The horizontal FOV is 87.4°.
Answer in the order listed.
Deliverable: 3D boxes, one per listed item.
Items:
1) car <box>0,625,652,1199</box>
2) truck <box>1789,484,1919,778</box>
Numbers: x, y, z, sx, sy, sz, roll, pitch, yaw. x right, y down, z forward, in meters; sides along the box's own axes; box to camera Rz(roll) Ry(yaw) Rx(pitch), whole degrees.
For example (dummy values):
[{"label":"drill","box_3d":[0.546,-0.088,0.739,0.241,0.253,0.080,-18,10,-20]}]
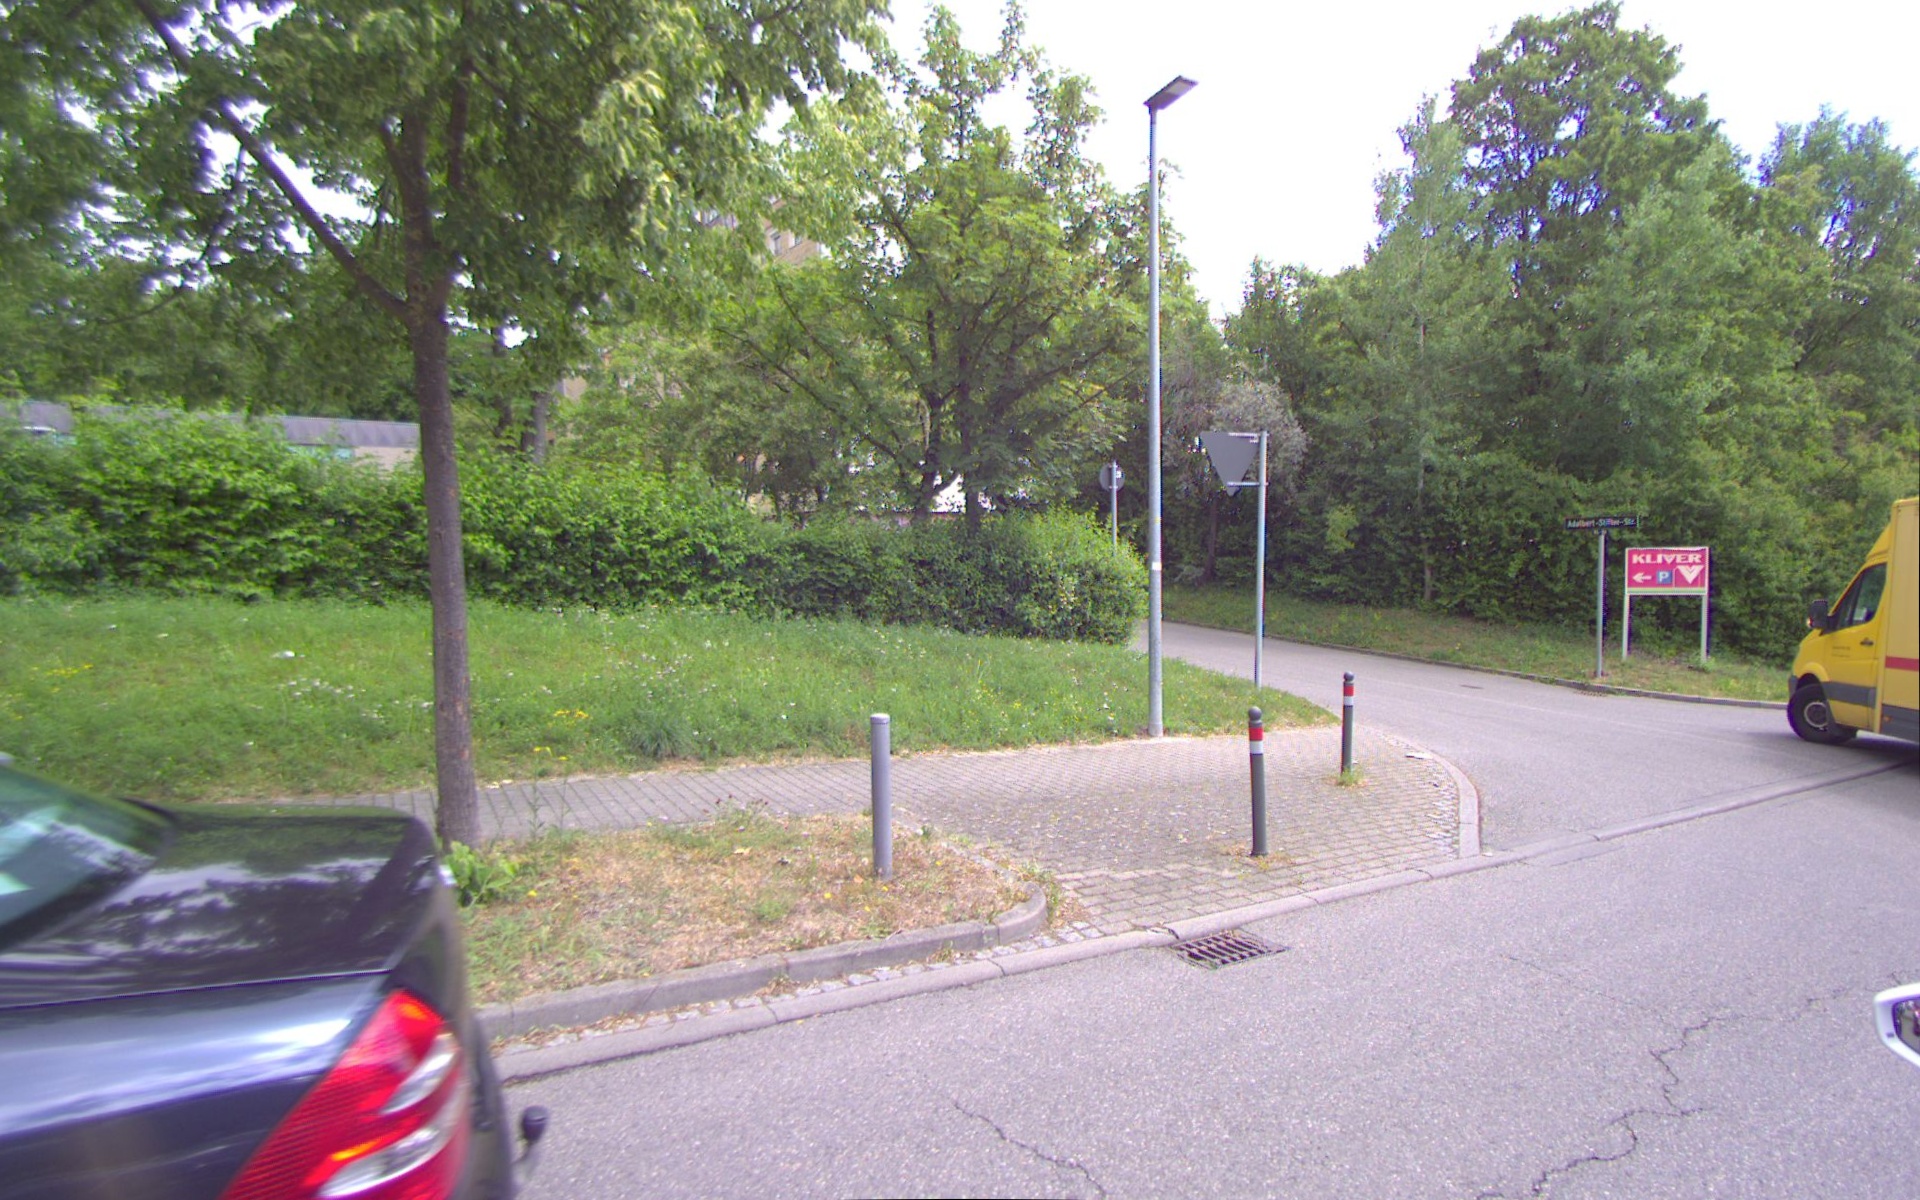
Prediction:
[{"label":"car","box_3d":[-2.667,0.758,0.843,4.319,1.438,1.742,1,0,-32]},{"label":"truck","box_3d":[10.177,0.303,8.934,2.189,2.846,6.571,0,0,20]}]
